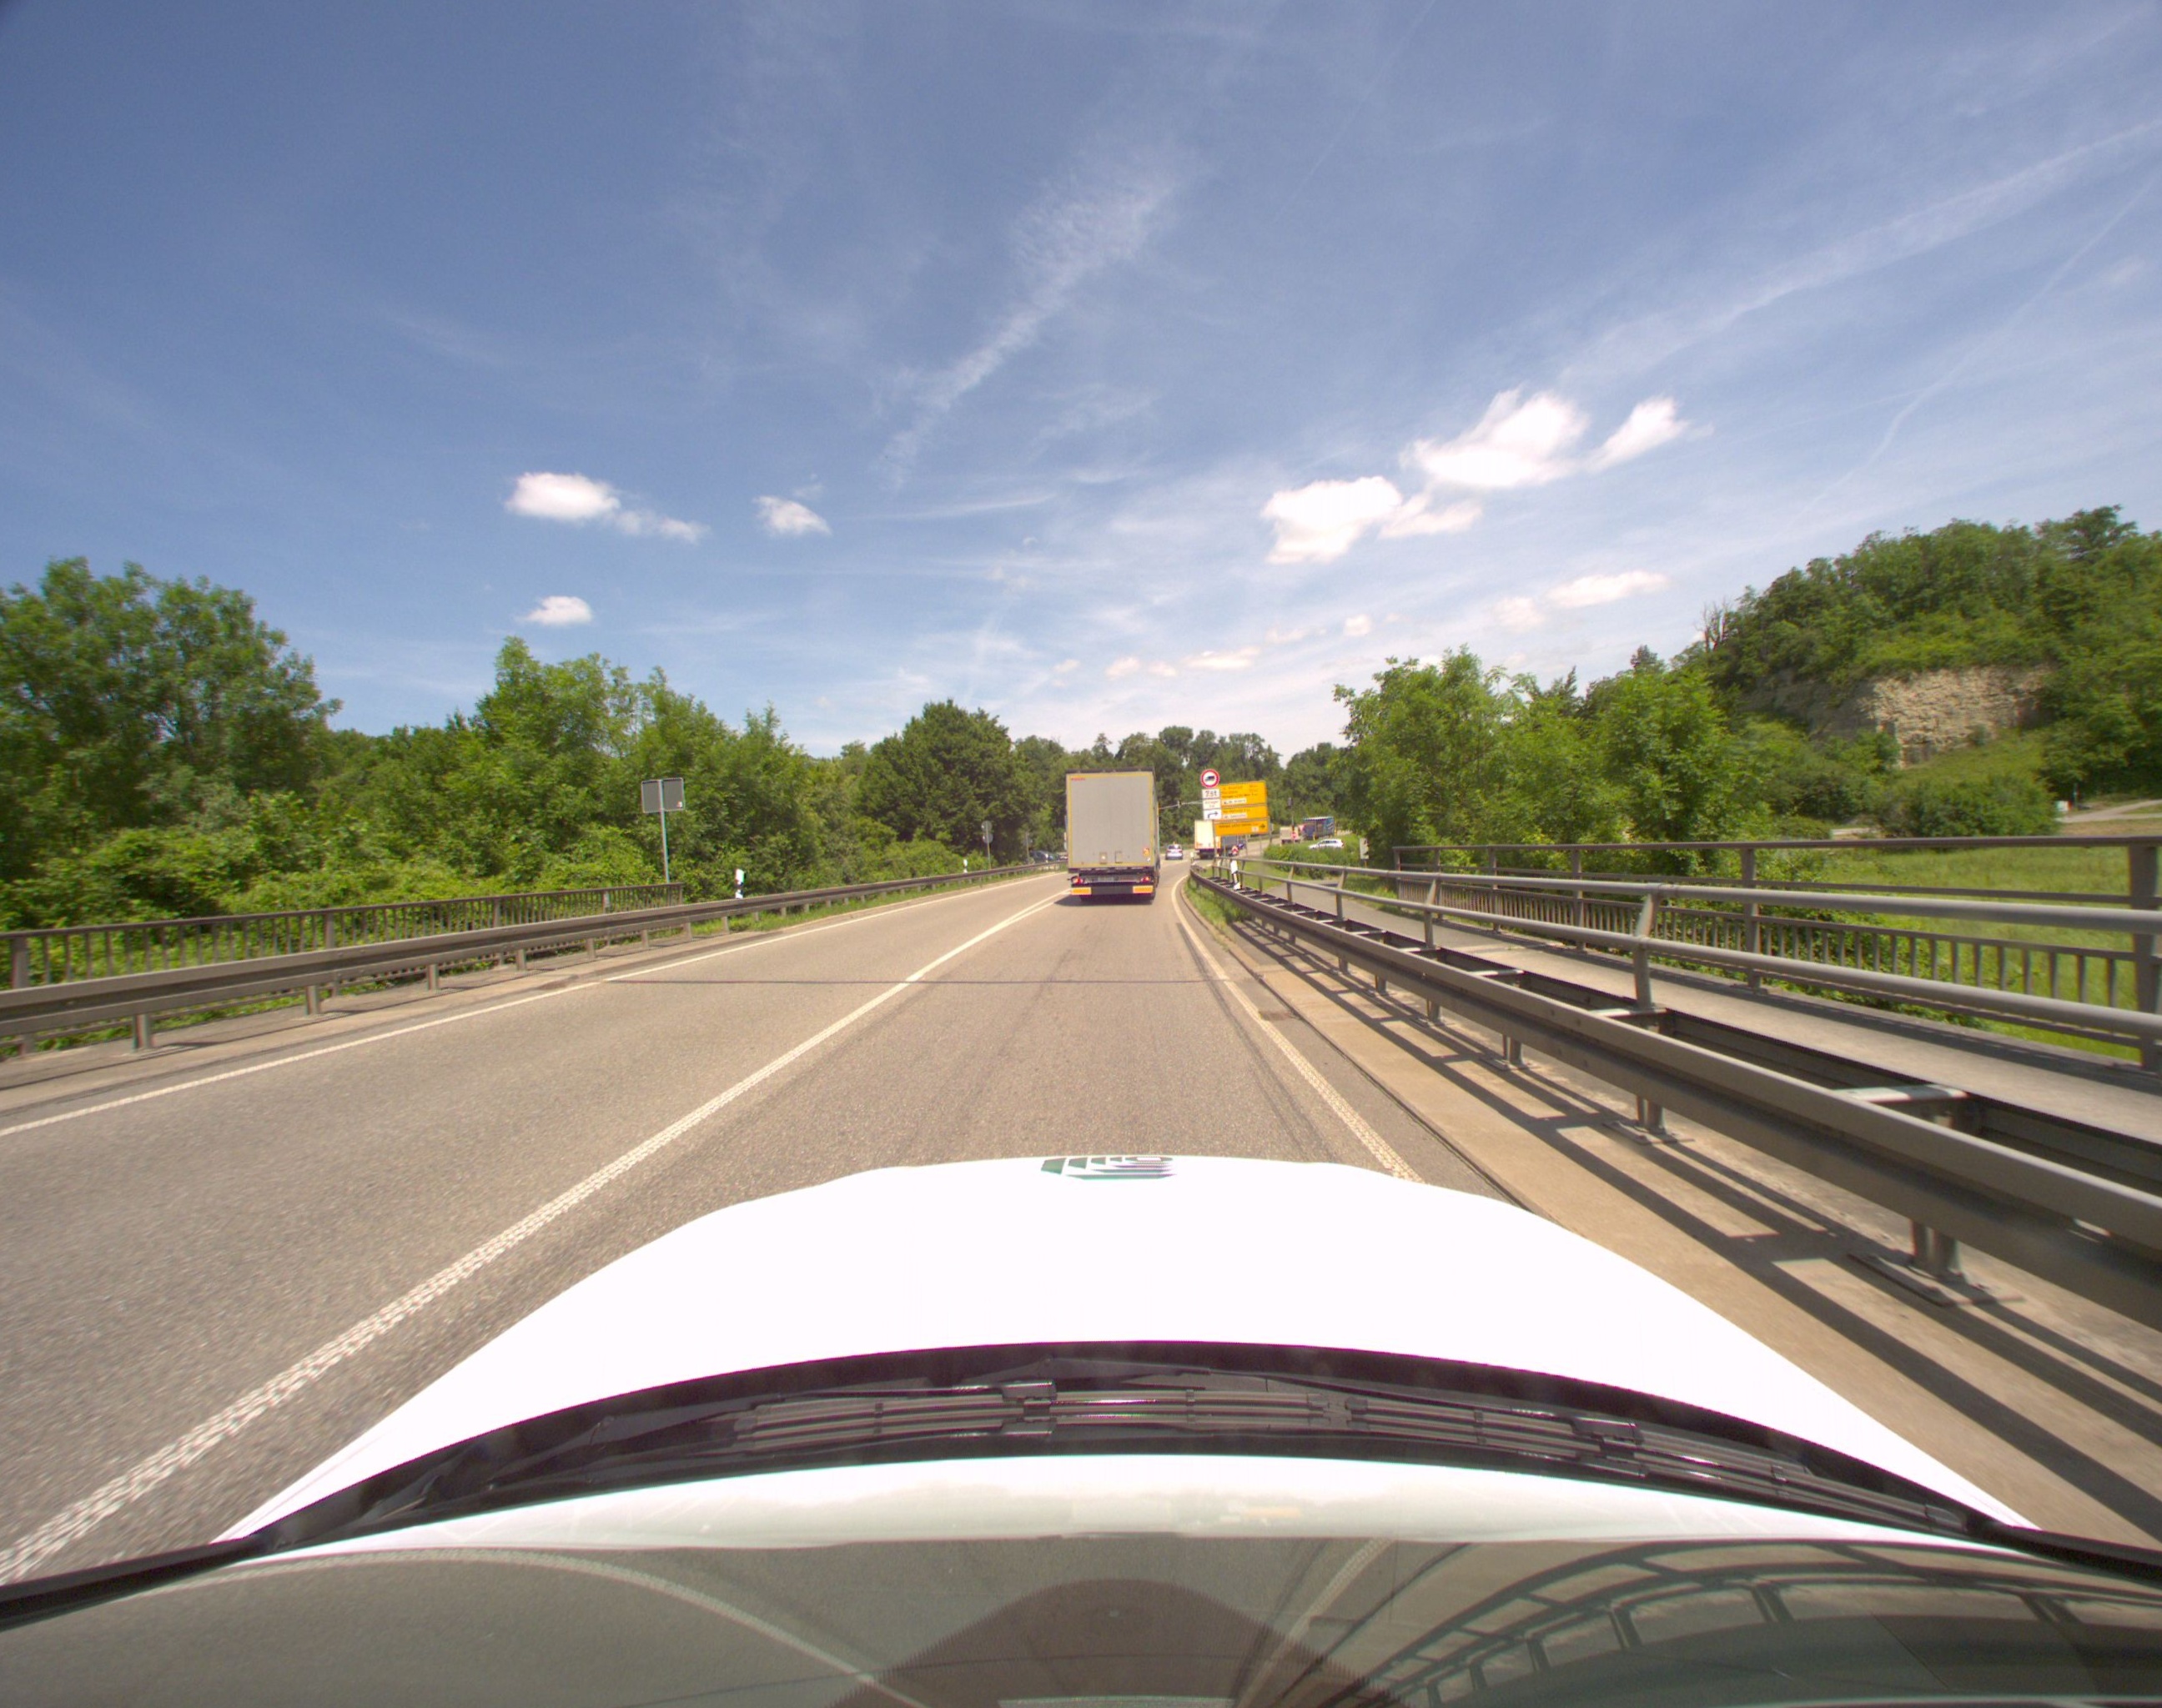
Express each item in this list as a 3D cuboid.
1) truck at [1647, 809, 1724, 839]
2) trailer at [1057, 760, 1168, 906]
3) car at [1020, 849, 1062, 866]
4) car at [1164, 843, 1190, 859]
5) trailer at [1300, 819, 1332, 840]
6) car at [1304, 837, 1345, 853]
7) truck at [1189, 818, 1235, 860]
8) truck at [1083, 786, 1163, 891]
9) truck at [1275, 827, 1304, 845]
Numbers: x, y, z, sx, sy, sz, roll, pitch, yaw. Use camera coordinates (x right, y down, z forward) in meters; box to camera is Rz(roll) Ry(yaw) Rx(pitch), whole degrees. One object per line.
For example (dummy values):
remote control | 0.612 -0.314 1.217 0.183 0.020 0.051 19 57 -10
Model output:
truck | 61.646 -3.035 83.176 5.954 2.728 2.517 -1 -1 29
trailer | 1.413 -0.604 29.332 3.037 4.034 12.575 -2 0 5
car | -4.486 0.368 91.879 4.197 1.770 2.011 -2 0 21
car | 10.077 -0.289 85.559 1.978 1.519 4.018 -1 -1 17
trailer | 44.308 -4.659 153.452 3.220 3.685 9.310 -1 1 33
car | 27.897 -0.972 93.352 4.394 1.718 2.008 -1 -1 16
truck | 13.879 -1.462 85.490 3.154 4.029 11.796 -2 0 17
truck | 1.937 -0.616 35.323 3.024 4.034 6.638 -2 0 5
truck | 35.438 -3.025 138.231 2.828 2.947 7.149 -1 1 30
